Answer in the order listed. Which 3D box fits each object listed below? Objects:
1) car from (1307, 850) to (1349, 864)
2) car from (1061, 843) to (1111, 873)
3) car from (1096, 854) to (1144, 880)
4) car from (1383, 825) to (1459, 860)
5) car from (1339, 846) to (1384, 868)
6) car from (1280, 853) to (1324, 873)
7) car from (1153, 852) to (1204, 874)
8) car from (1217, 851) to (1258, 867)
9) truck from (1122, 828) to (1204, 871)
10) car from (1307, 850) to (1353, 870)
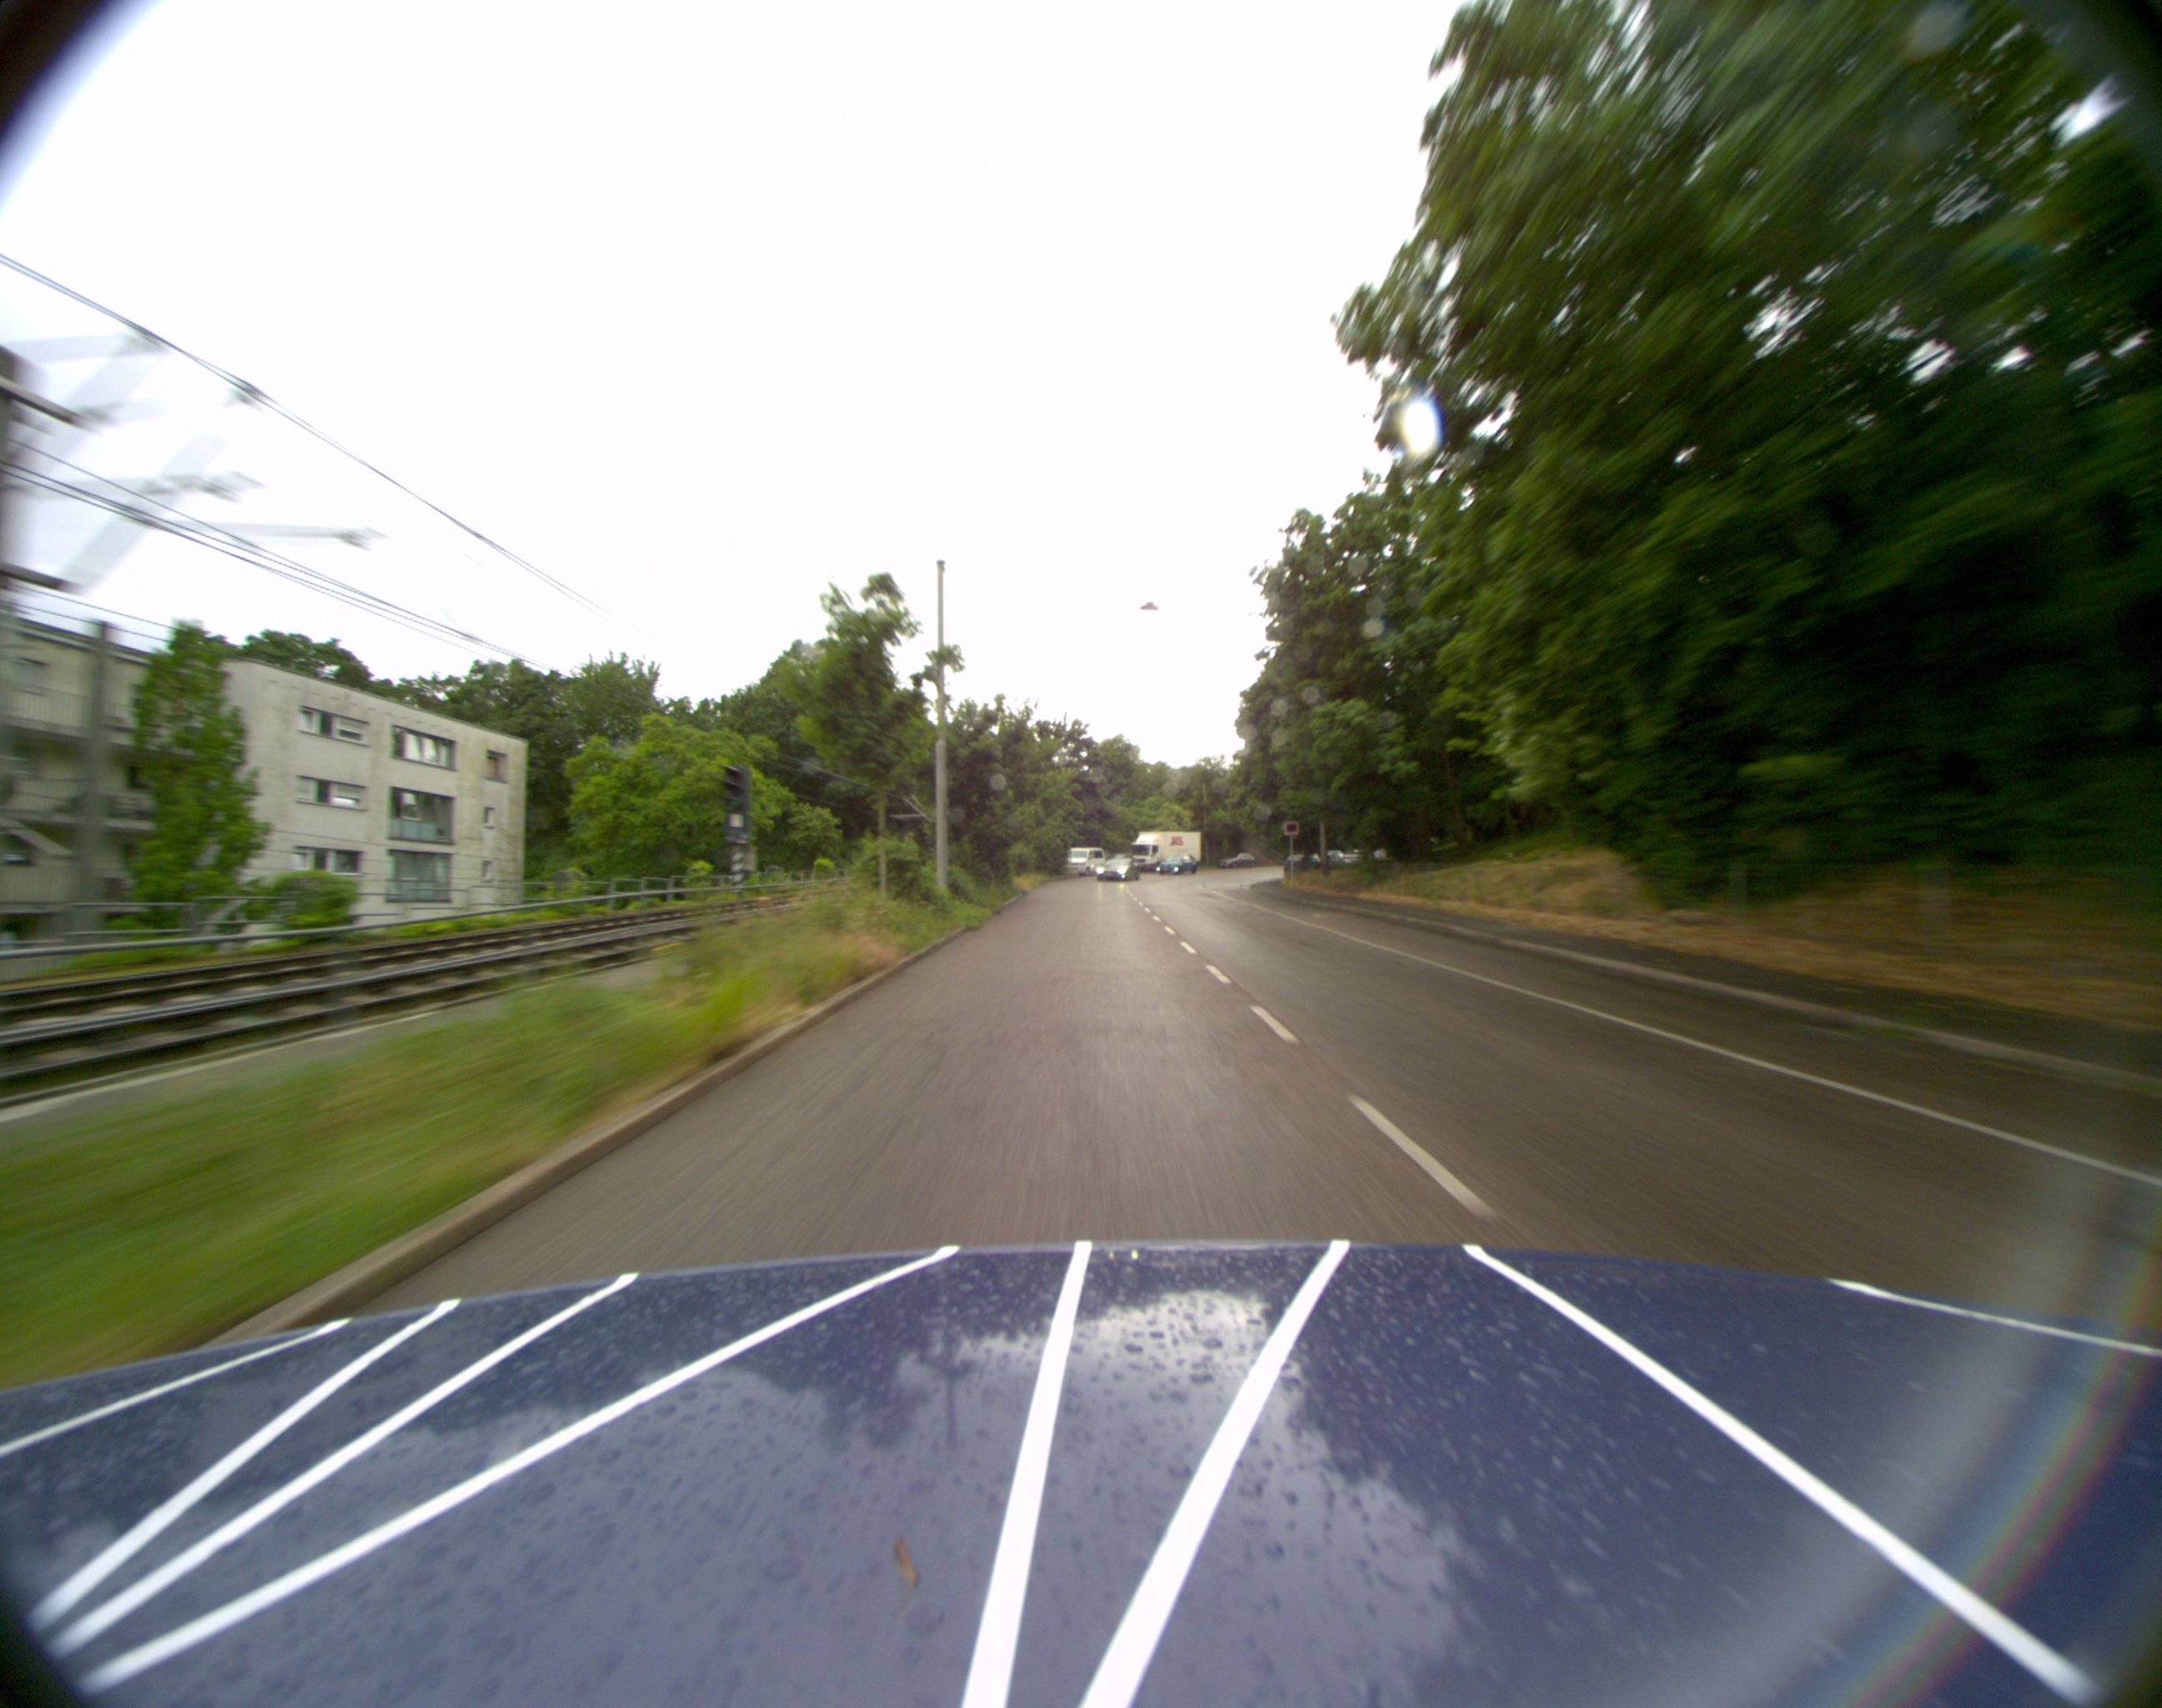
[{"bbox_3d":[26.668,0.332,81.983,4.100,1.392,1.758,-2,-2,-24],"label":"car"},{"bbox_3d":[0.405,0.253,54.593,1.878,2.002,4.698,1,1,23],"label":"car"},{"bbox_3d":[2.538,0.807,48.360,1.896,1.530,4.506,-1,0,18],"label":"car"},{"bbox_3d":[30.589,-1.106,68.361,6.353,2.541,2.072,-2,15,-22],"label":"car"},{"bbox_3d":[24.309,0.247,65.806,4.031,1.574,1.804,-4,2,-39],"label":"car"},{"bbox_3d":[17.025,0.677,58.442,1.774,1.434,4.023,-1,1,41],"label":"car"},{"bbox_3d":[7.789,0.670,60.368,1.994,1.660,4.539,-1,0,38],"label":"car"},{"bbox_3d":[15.436,0.506,74.919,4.132,1.435,1.721,-2,0,-39],"label":"car"},{"bbox_3d":[7.321,-0.451,66.786,3.008,3.553,8.352,-1,1,38],"label":"truck"},{"bbox_3d":[20.435,0.511,62.281,4.055,1.448,1.752,-3,2,-41],"label":"car"}]
